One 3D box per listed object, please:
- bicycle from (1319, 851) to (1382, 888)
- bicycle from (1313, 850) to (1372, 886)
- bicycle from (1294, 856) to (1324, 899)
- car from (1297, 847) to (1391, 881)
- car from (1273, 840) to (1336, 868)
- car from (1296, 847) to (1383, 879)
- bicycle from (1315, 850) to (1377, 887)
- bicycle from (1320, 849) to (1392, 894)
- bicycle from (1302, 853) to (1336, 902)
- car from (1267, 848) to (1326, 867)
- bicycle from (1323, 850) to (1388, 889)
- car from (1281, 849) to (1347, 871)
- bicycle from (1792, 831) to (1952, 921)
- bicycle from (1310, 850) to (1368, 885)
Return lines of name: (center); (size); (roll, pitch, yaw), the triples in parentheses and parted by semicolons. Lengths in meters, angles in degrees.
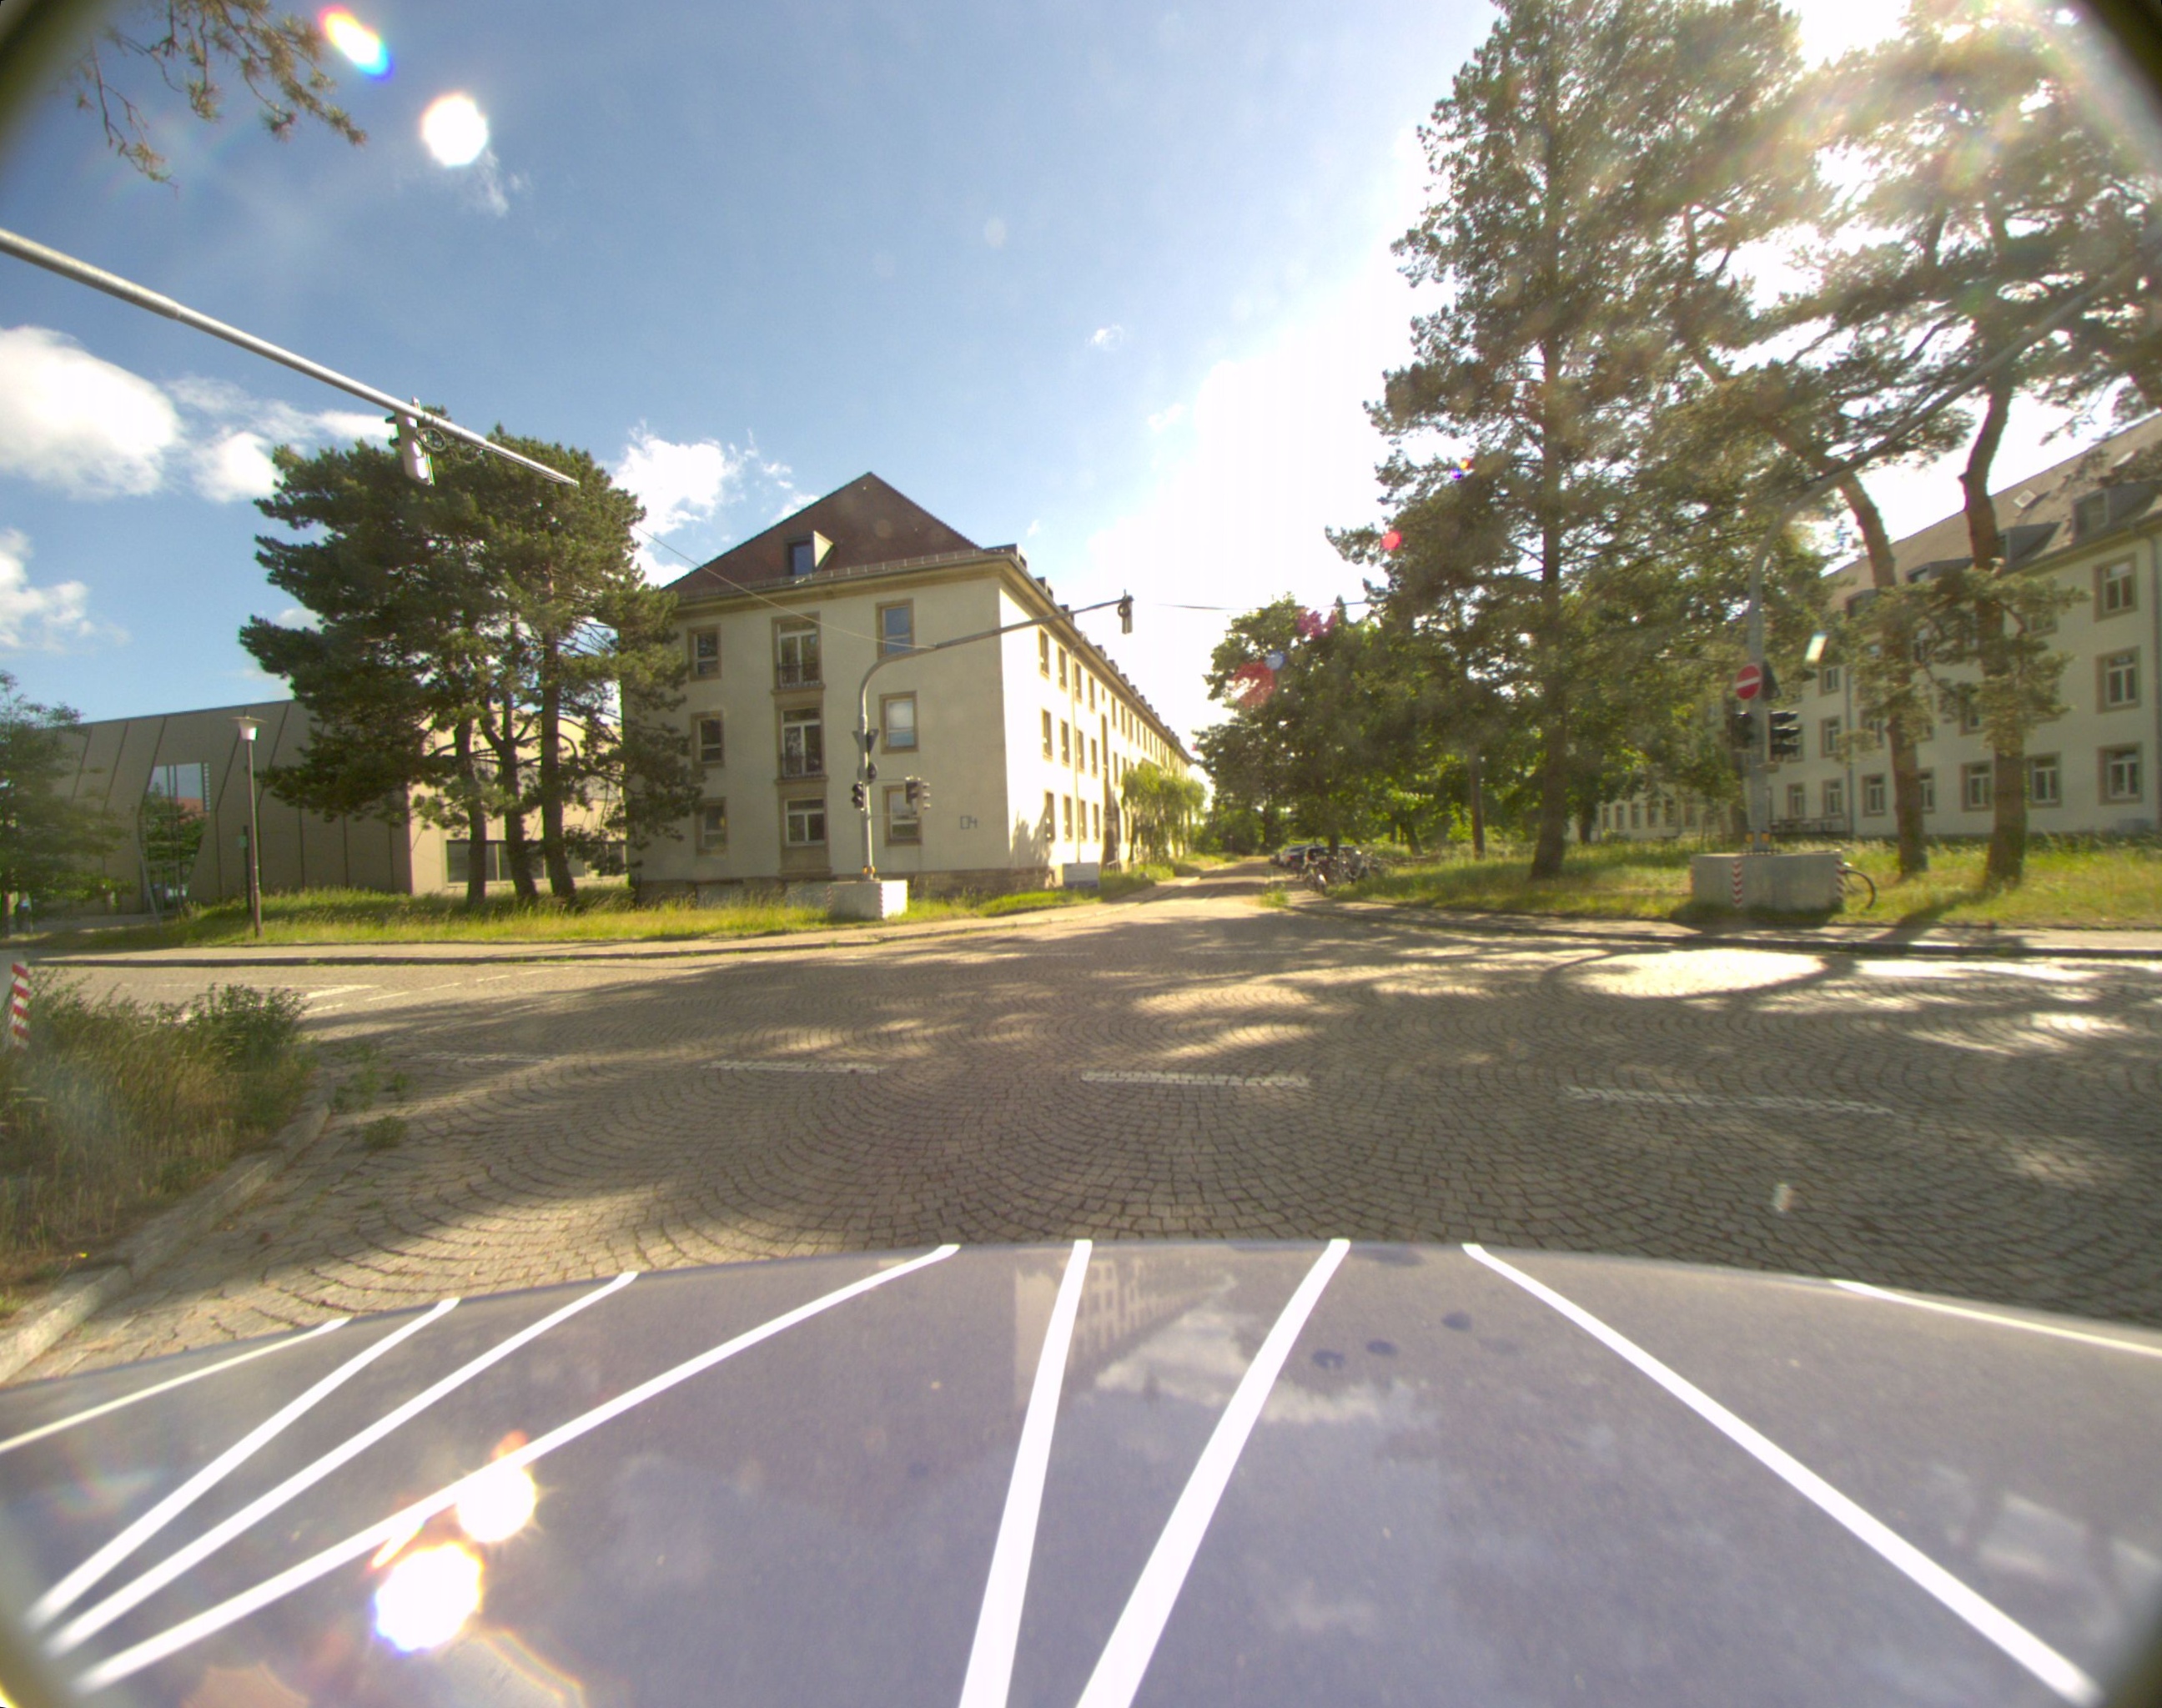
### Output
bicycle: (10.211, 0.580, 28.877); (2.112, 1.276, 0.622); (-4, 1, 8)
bicycle: (10.510, 0.554, 30.605); (2.112, 1.276, 0.622); (-4, 1, 9)
bicycle: (7.541, 0.752, 25.160); (0.620, 1.276, 2.116); (-4, 0, 10)
car: (12.835, 0.481, 37.251); (4.040, 1.493, 1.819); (-2, 1, 6)
car: (16.818, -0.007, 57.272); (4.222, 1.903, 1.818); (-2, 1, 4)
car: (13.596, 0.460, 40.183); (4.040, 1.514, 1.819); (-2, 1, 6)
bicycle: (10.343, 0.567, 29.715); (2.112, 1.276, 0.622); (-4, 1, 9)
bicycle: (9.366, 0.590, 25.911); (2.112, 1.276, 0.622); (-8, 0, 11)
bicycle: (7.169, 0.678, 23.007); (0.620, 1.342, 2.116); (-4, 0, 10)
car: (17.130, 0.275, 60.451); (4.222, 1.294, 1.818); (-2, 1, 4)
bicycle: (10.125, 0.579, 28.044); (2.112, 1.276, 0.622); (-4, 1, 7)
car: (15.820, 0.394, 51.721); (4.039, 1.356, 1.819); (-2, 1, 7)
bicycle: (12.548, 0.323, 12.167); (0.620, 1.276, 2.117); (-5, 0, 12)
bicycle: (10.650, 0.550, 31.440); (2.112, 1.276, 0.622); (-4, 1, 9)
